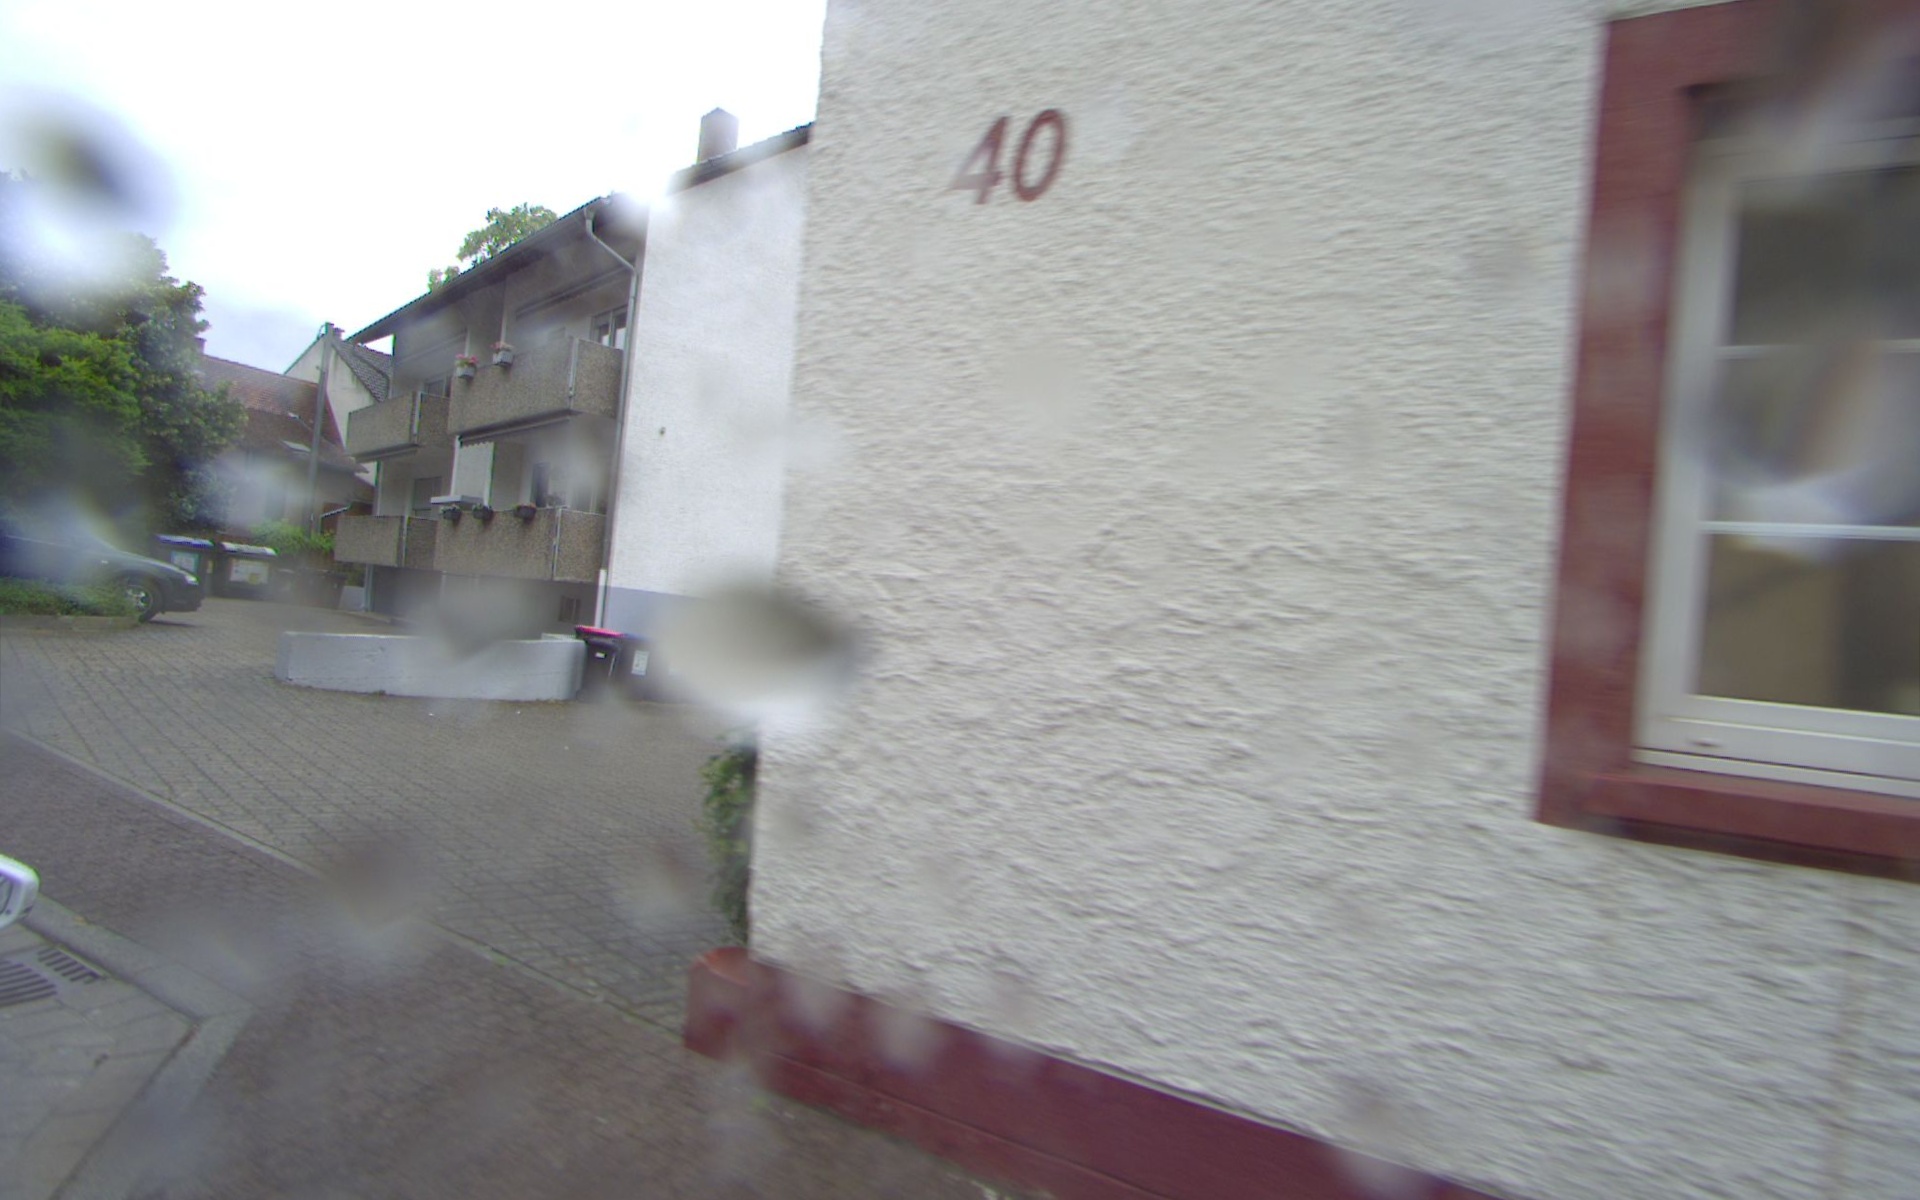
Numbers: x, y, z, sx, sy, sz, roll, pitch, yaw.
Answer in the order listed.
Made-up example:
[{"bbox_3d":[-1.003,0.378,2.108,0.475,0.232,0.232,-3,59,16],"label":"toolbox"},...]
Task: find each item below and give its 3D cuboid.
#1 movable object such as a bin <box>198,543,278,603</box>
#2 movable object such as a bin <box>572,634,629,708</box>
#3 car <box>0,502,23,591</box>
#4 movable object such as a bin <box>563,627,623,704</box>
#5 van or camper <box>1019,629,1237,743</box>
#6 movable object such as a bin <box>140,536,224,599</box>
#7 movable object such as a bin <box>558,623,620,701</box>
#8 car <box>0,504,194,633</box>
[{"bbox_3d":[-19.397,-0.721,27.034,1.135,1.373,1.245,7,-2,30],"label":"movable object such as a bin"},{"bbox_3d":[-5.222,1.023,14.597,0.617,0.959,0.653,8,-2,-23],"label":"movable object such as a bin"},{"bbox_3d":[-19.519,-1.252,17.806,1.832,1.608,4.063,6,-2,42],"label":"car"},{"bbox_3d":[-5.633,1.009,15.443,0.620,1.078,0.565,9,-2,-35],"label":"movable object such as a bin"},{"bbox_3d":[3.877,1.984,22.699,4.821,2.037,2.175,9,-2,-42],"label":"van or camper"},{"bbox_3d":[-20.043,-0.830,25.930,1.135,1.373,1.245,7,-2,30],"label":"movable object such as a bin"},{"bbox_3d":[-5.944,0.997,16.113,0.621,1.130,0.683,9,-3,-39],"label":"movable object such as a bin"},{"bbox_3d":[-13.099,-0.557,13.468,1.673,1.497,4.221,6,-2,43],"label":"car"}]
